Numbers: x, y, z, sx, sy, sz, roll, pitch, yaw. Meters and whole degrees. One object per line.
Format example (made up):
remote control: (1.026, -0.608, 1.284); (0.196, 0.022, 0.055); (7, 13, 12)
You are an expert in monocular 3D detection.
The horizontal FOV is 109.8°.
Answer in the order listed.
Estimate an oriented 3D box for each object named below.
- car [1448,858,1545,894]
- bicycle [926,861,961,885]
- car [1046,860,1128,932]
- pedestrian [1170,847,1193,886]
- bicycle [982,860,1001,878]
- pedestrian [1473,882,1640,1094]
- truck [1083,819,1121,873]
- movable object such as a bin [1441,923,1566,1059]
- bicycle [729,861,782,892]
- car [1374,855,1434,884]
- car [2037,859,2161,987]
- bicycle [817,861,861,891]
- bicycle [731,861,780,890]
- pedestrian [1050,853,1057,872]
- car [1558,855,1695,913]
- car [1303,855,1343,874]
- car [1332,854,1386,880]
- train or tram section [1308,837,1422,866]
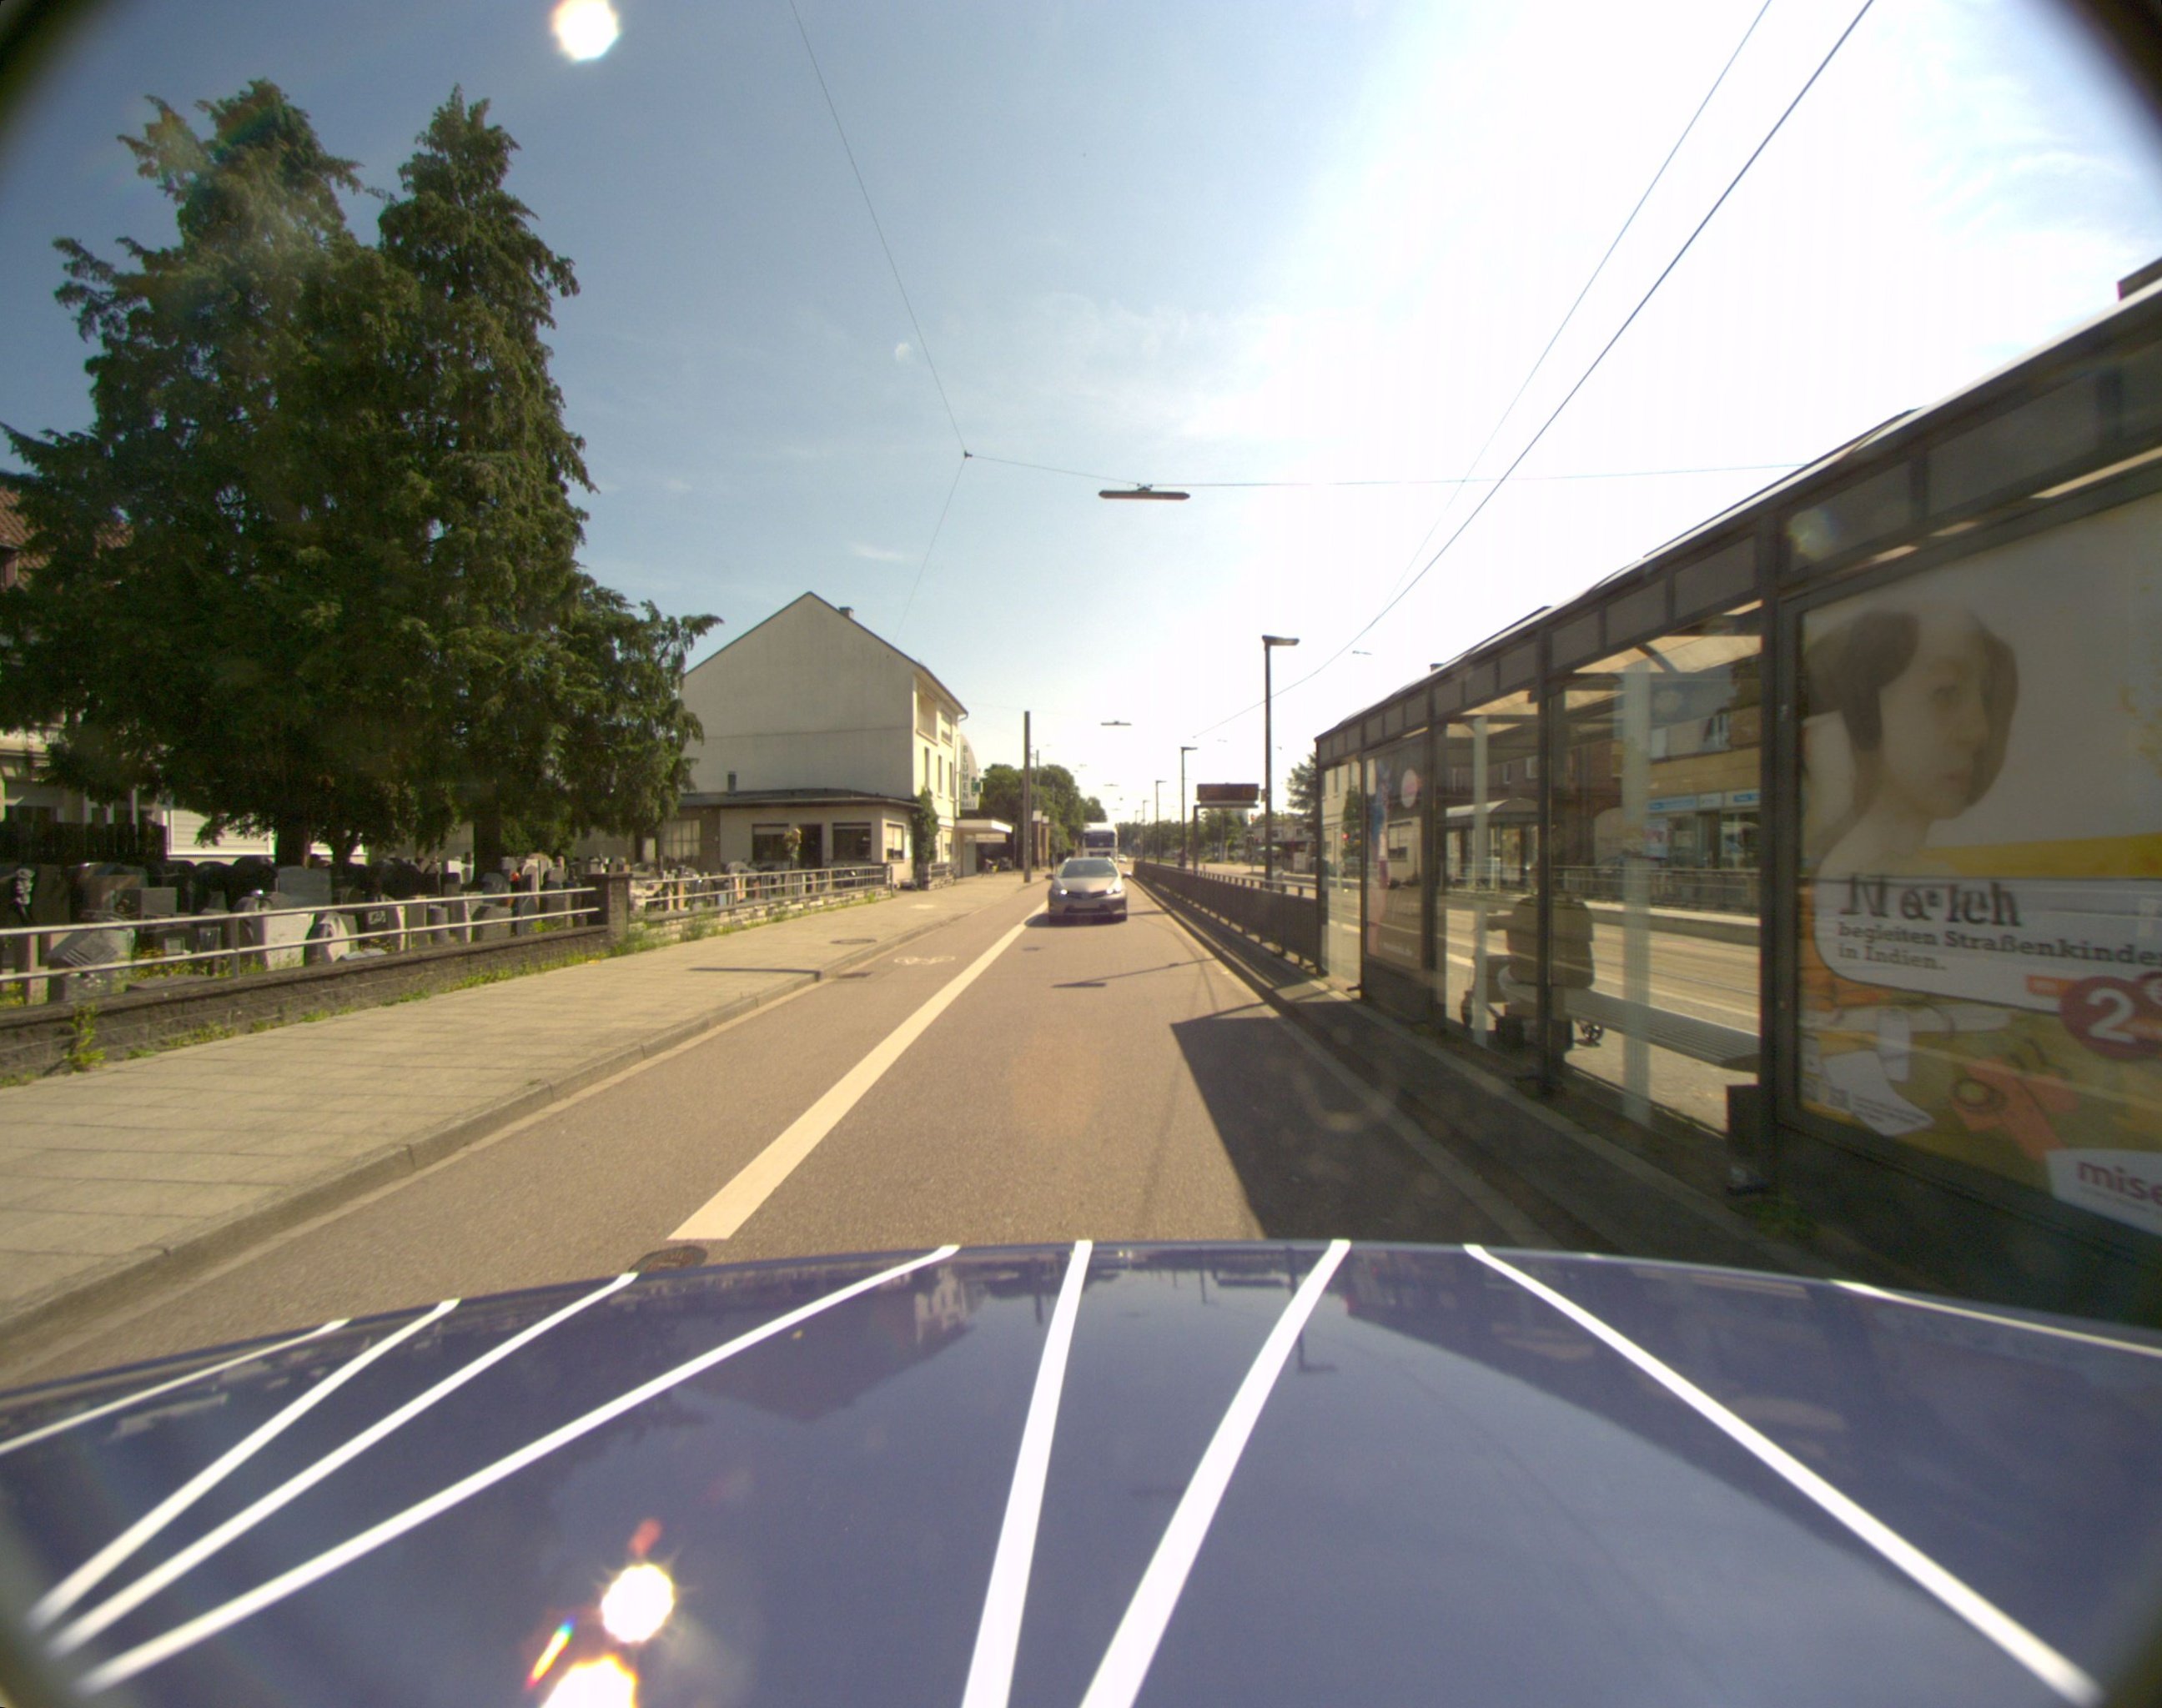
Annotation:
car: (17.146, 0.849, 31.637); (1.635, 1.355, 4.521); (0, 0, 1)
bicycle: (-6.480, 0.906, 35.793); (1.530, 1.051, 0.398); (3, 1, 3)
car: (0.205, 0.894, 18.165); (1.695, 1.440, 4.481); (-1, 0, 2)
pedestrian: (4.969, 0.607, 37.540); (0.983, 1.848, 1.238); (0, 1, 2)
bicycle: (-5.526, 0.920, 46.975); (0.511, 1.127, 1.693); (0, 0, 19)
pedestrian: (3.037, 0.816, 4.916); (0.631, 1.247, 0.709); (0, 1, 1)
truck: (1.599, -0.572, 57.485); (2.657, 3.772, 7.864); (0, 0, 2)
movable object such as a bin: (3.049, 0.975, 5.515); (0.631, 0.895, 0.489); (0, 1, 1)
bicycle: (-12.207, 0.834, 28.533); (1.795, 1.104, 0.512); (1, 0, 6)
car: (17.004, 0.809, 40.154); (1.629, 1.460, 3.866); (-1, 0, 2)
car: (15.882, 0.963, 9.826); (1.805, 1.718, 4.189); (-2, 0, 2)
bicycle: (-9.245, 0.833, 29.023); (1.686, 1.104, 0.515); (1, 0, 26)
bicycle: (-12.672, 0.830, 29.601); (1.689, 1.104, 0.512); (1, 0, 3)
pedestrian: (-2.386, 0.746, 66.462); (0.499, 1.617, 0.500); (2, 1, 9)
car: (16.690, 0.866, 23.453); (1.716, 1.613, 3.579); (-1, 0, 2)
car: (17.633, 0.770, 55.543); (1.716, 1.236, 4.079); (-2, 0, 1)
car: (17.245, 0.807, 47.352); (1.716, 1.507, 4.473); (-2, -1, 1)
train or tram section: (35.528, -0.299, 95.262); (13.327, 3.460, 2.688); (0, 1, 0)
